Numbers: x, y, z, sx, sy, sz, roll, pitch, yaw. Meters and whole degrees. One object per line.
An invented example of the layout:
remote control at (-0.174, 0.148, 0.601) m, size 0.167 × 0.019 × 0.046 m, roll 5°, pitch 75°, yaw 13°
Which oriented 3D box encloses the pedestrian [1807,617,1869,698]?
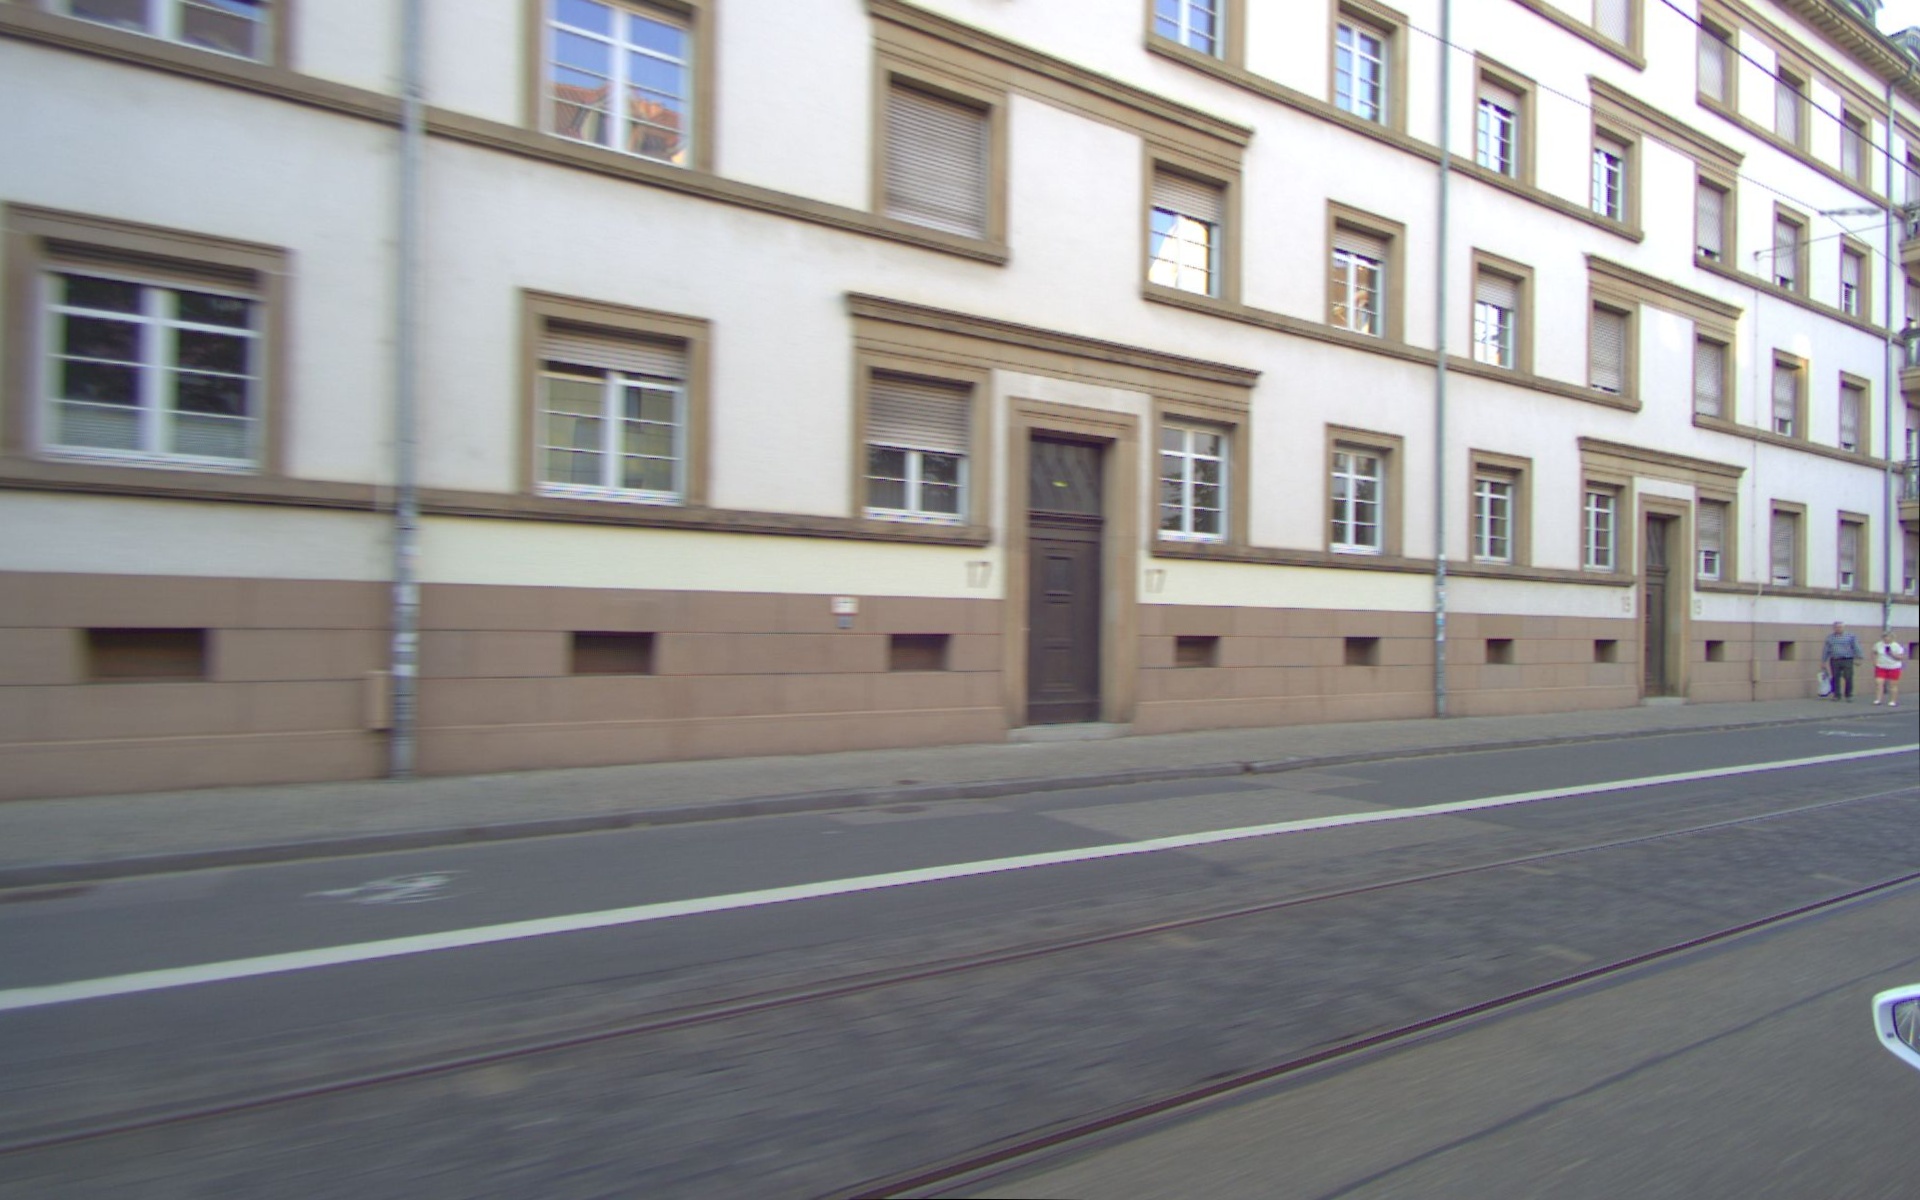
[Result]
pedestrian at (19.379, 1.253, 22.165) m, size 0.971 × 1.724 × 0.791 m, roll 1°, pitch -1°, yaw -32°

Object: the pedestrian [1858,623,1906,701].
pedestrian at (19.756, 1.318, 21.522) m, size 0.802 × 1.631 × 0.587 m, roll 1°, pitch -1°, yaw -32°
